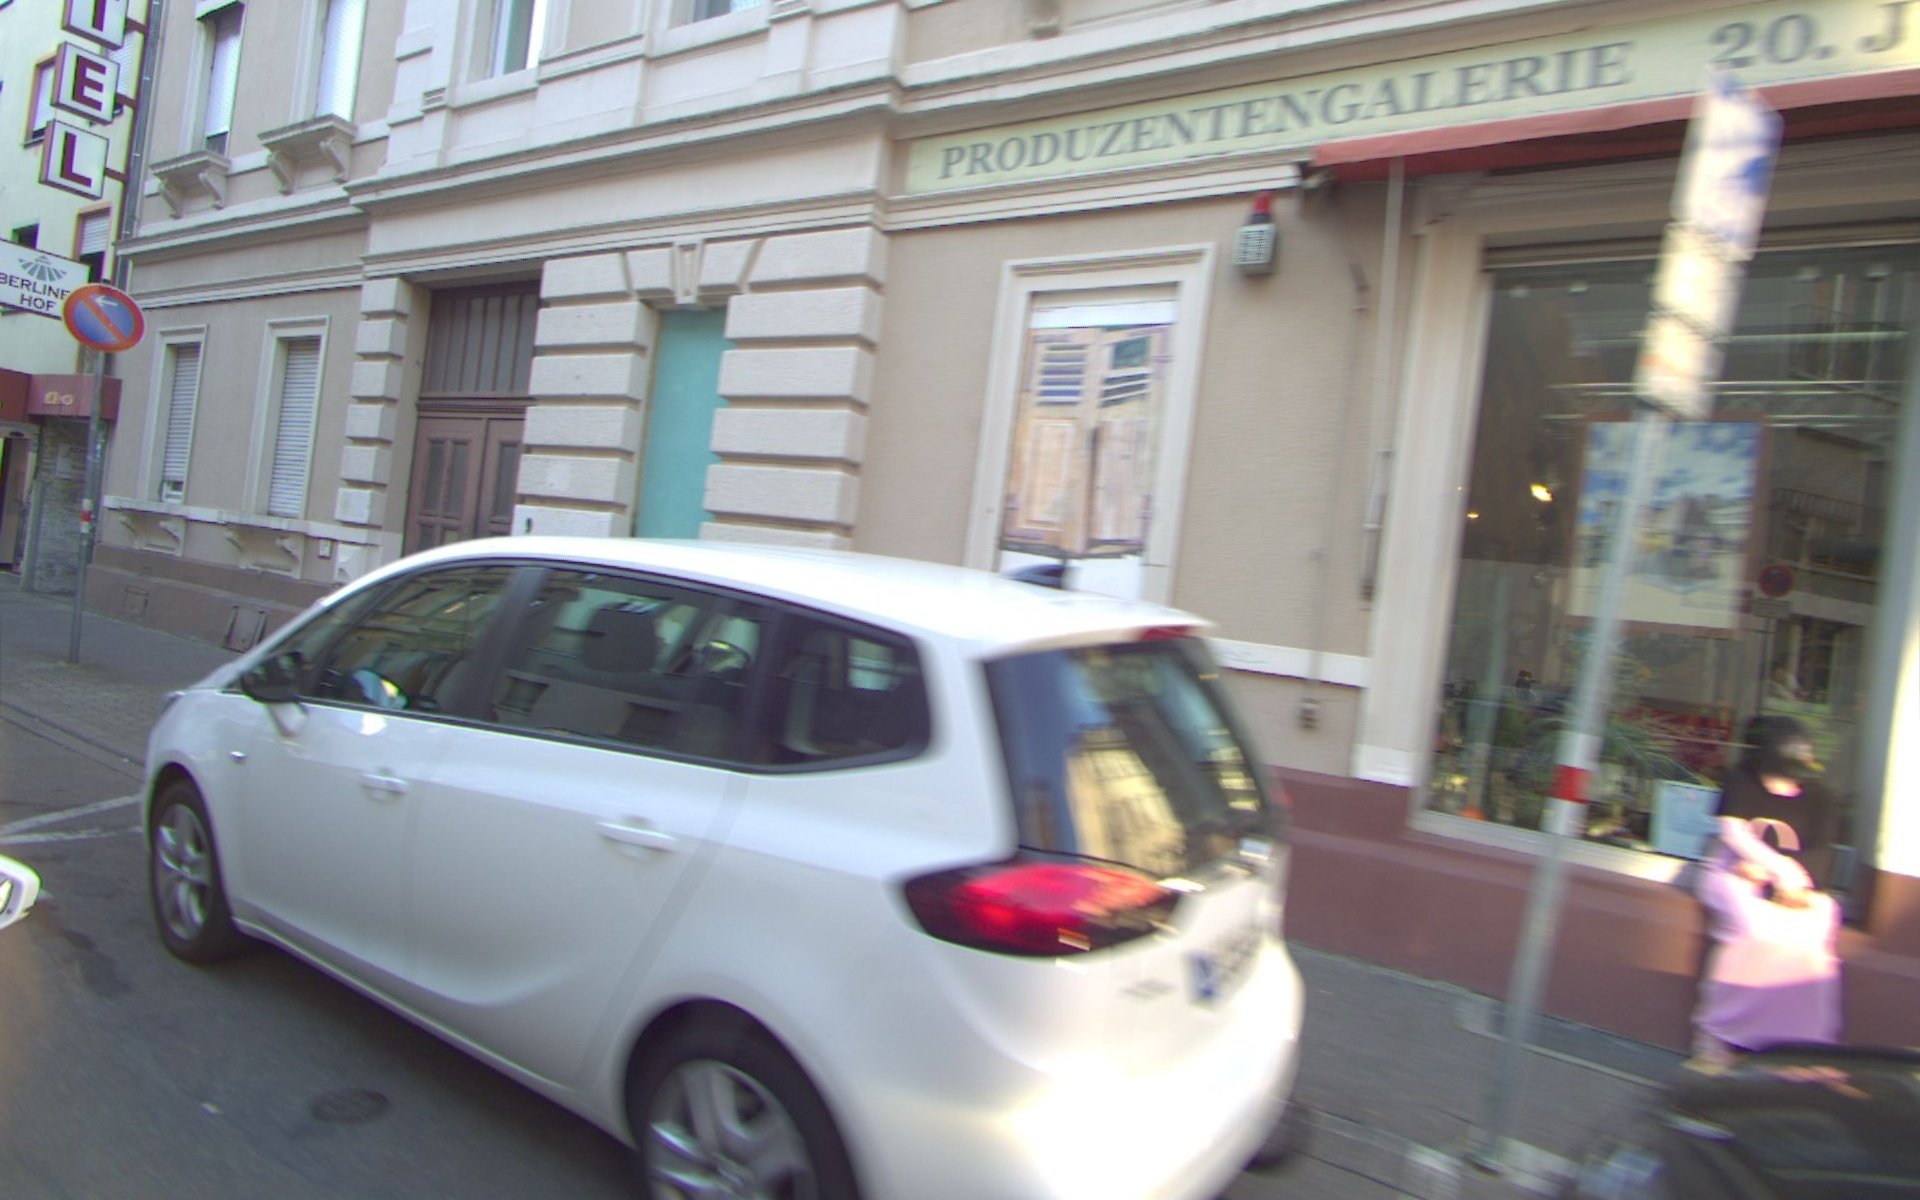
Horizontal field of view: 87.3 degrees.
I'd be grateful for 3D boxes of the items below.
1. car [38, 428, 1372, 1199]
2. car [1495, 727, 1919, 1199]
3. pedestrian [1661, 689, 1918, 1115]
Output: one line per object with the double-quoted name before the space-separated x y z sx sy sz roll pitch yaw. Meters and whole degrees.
"car" -1.142 0.525 3.513 4.387 1.744 1.820 8 -1 32
"car" 3.045 1.218 0.690 4.653 1.425 1.886 7 -1 34
"pedestrian" 3.355 1.153 4.141 0.571 1.489 0.715 7 0 31
